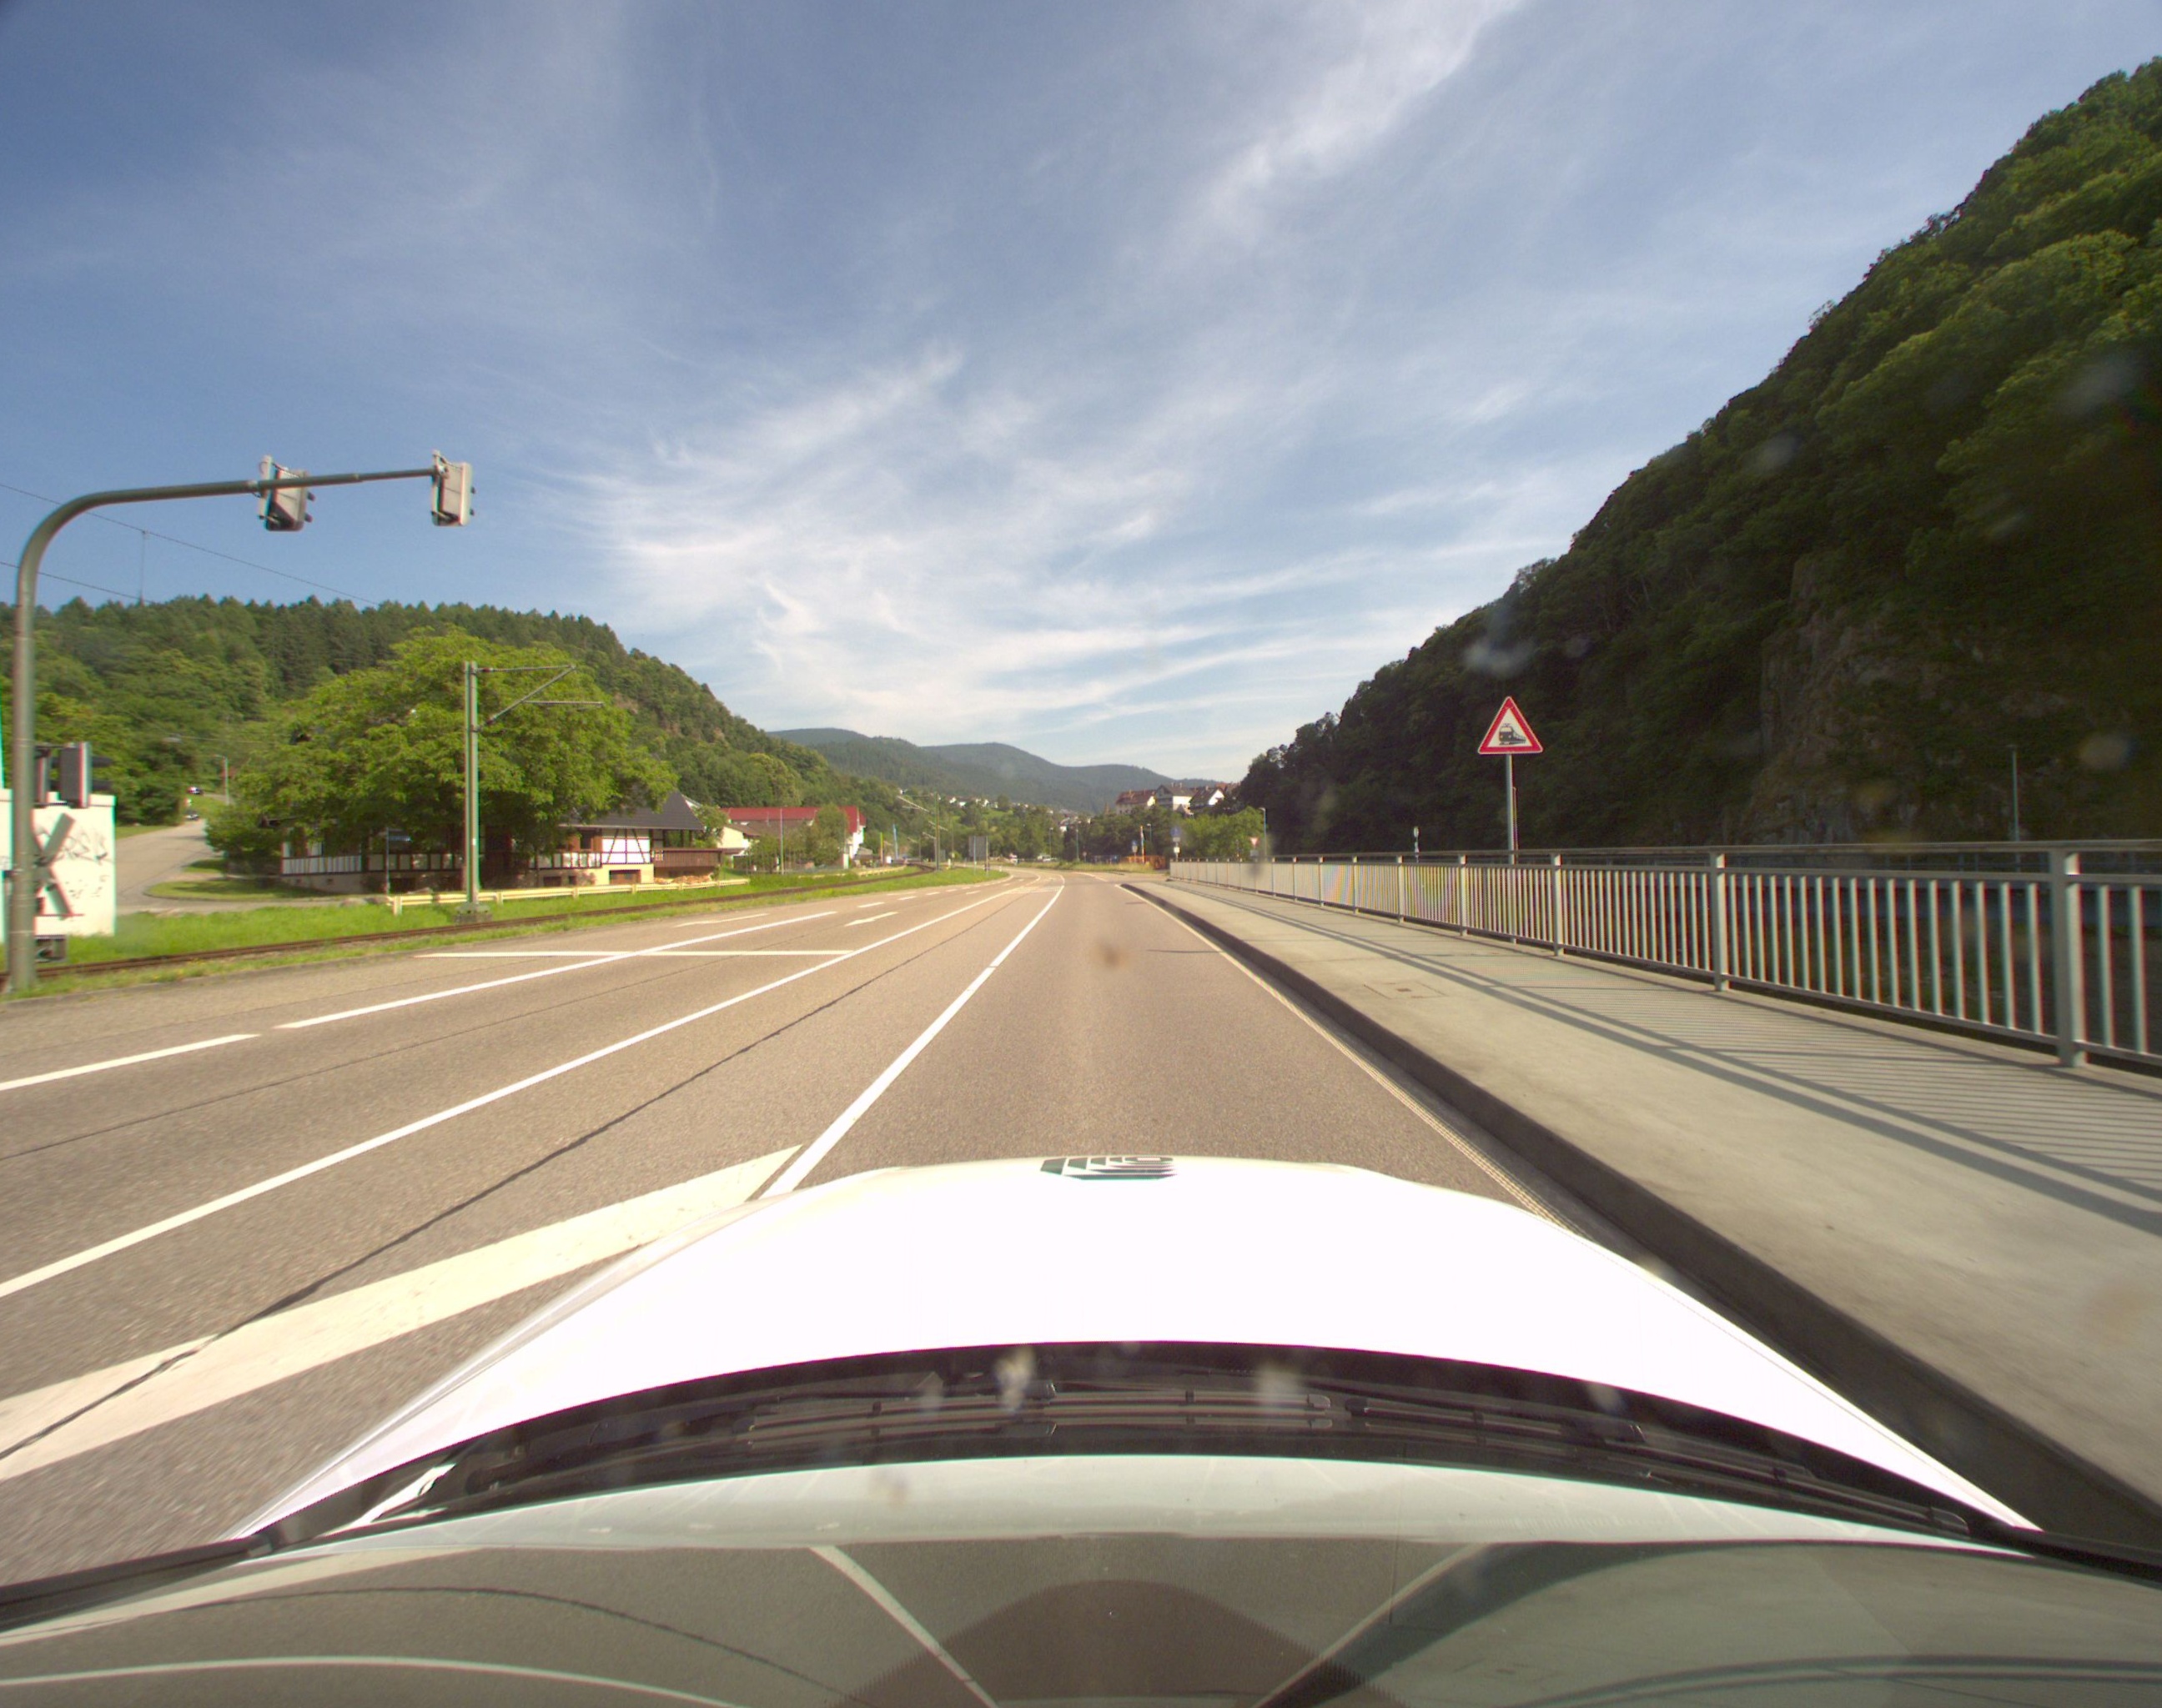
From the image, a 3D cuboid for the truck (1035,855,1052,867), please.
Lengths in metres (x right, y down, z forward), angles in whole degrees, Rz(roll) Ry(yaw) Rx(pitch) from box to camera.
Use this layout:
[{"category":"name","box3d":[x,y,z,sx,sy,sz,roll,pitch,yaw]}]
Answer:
[{"category":"truck","box3d":[-11.391,2.102,248.743,3.111,3.782,8.593,0,-1,-17]}]
